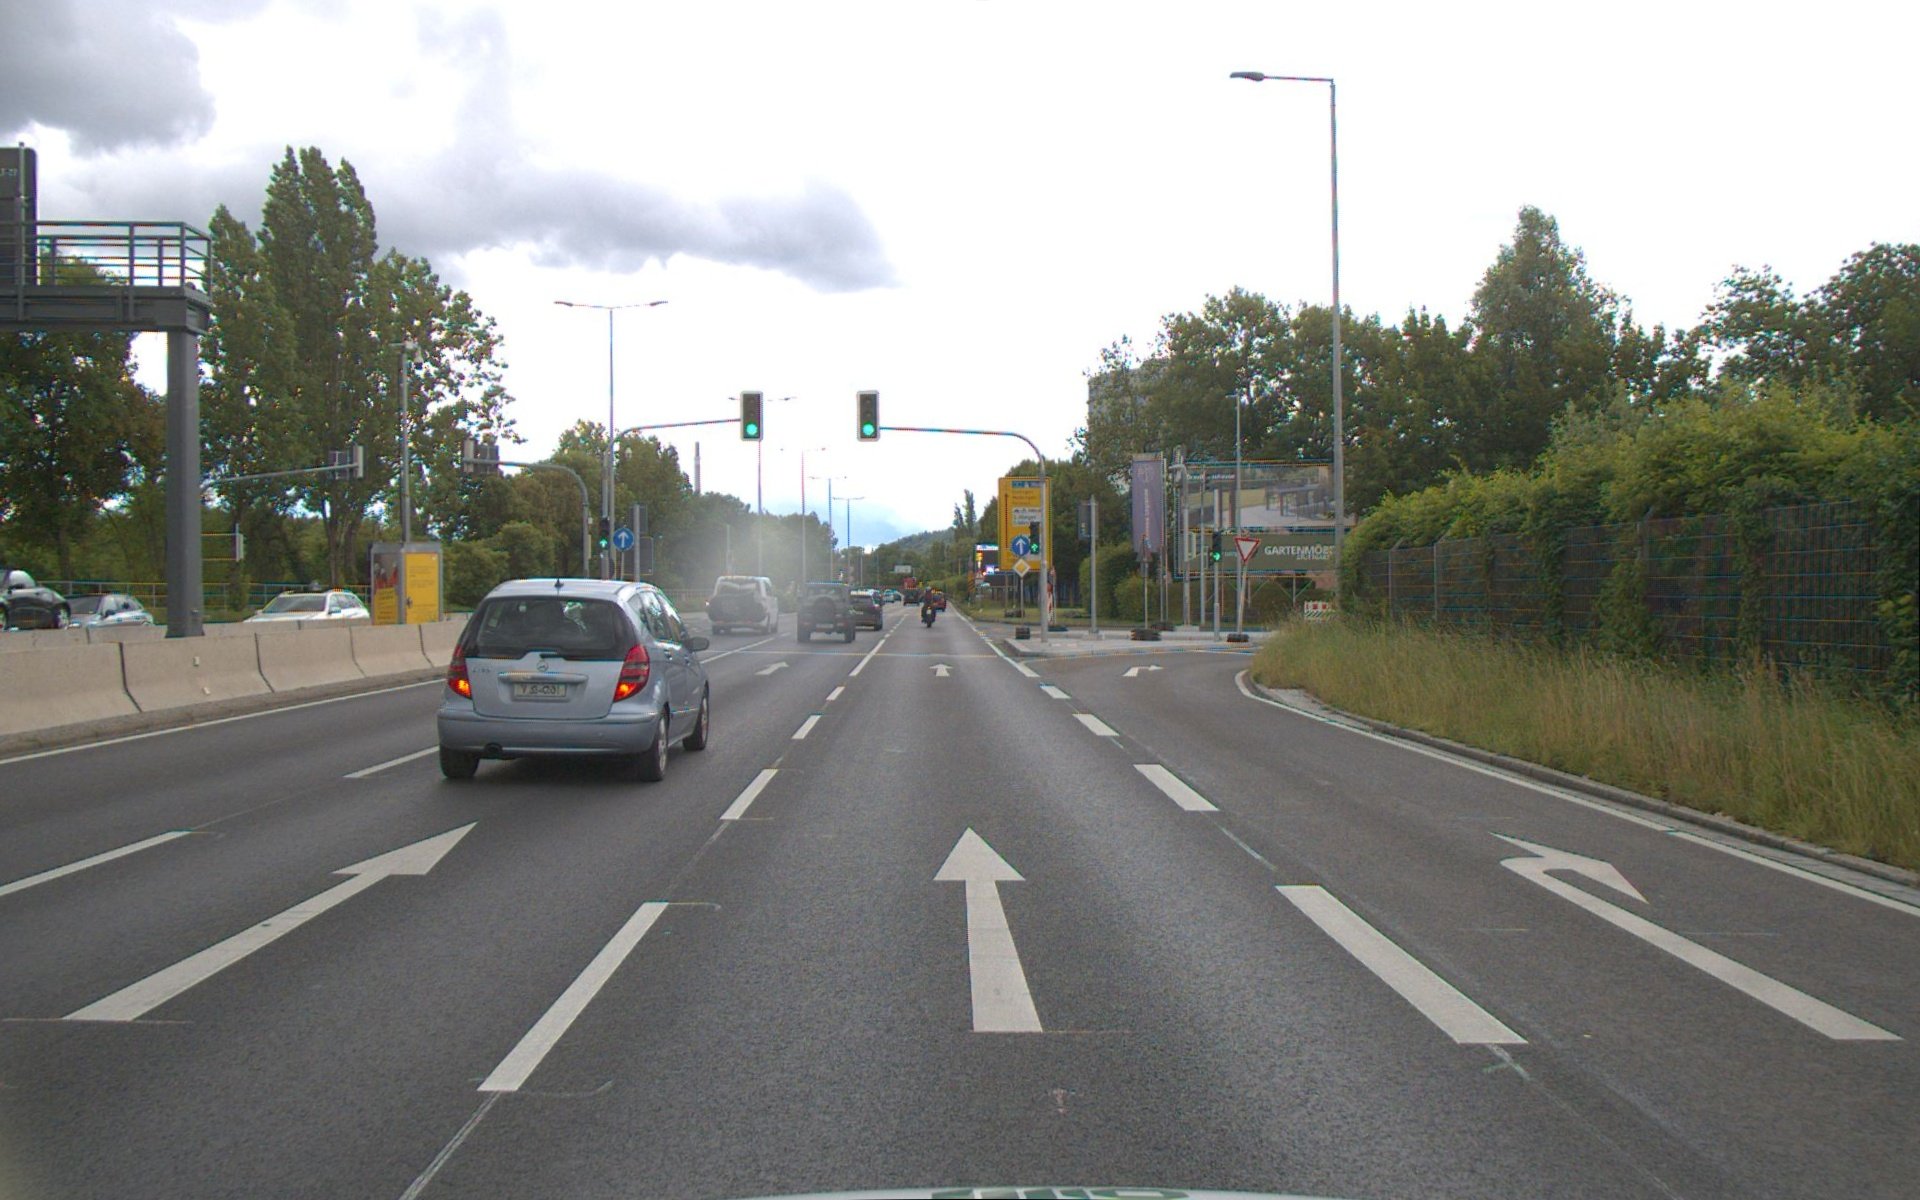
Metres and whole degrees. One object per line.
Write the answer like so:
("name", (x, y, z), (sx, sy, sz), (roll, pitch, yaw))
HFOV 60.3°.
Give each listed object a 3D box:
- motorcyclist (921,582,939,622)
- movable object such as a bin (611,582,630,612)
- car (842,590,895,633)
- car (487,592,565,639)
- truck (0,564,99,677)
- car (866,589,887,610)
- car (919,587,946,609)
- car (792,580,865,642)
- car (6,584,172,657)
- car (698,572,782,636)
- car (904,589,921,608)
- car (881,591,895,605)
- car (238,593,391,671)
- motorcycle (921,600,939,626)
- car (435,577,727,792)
("motorcyclist", (-1.250, 0.082, 69.189), (0.670, 1.638, 0.845), (2, 0, 0))
("movable object such as a bin", (-12.184, -0.105, 59.400), (0.530, 1.077, 0.740), (2, 0, -1))
("car", (-3.443, 0.402, 62.823), (1.802, 1.489, 4.000), (2, 1, -1))
("car", (-16.994, 0.576, 64.955), (1.953, 1.714, 4.411), (2, 1, -2))
("truck", (-18.734, 0.355, 30.753), (2.159, 2.049, 6.301), (2, 1, 0))
("car", (-8.591, -0.059, 170.728), (1.953, 2.049, 3.999), (2, 1, -1))
("car", (-2.163, -0.154, 128.828), (1.953, 1.579, 3.998), (2, 1, -2))
("car", (-3.853, 0.294, 49.026), (1.869, 1.713, 3.999), (2, 1, -1))
("car", (-22.170, 0.476, 42.312), (1.953, 1.714, 4.411), (2, 1, -2))
("car", (-7.152, 0.097, 54.283), (2.170, 1.959, 5.000), (2, 1, -2))
("car", (-5.542, -0.208, 193.022), (1.953, 2.049, 3.999), (2, 1, -1))
("car", (-10.470, -0.292, 241.043), (1.953, 2.049, 4.000), (2, 1, -1))
("car", (-15.646, 0.719, 40.349), (1.953, 1.697, 4.694), (2, 1, -2))
("motorcycle", (-1.260, 0.531, 69.239), (0.692, 1.058, 2.027), (2, 1, 0))
("car", (-3.117, 0.612, 14.372), (1.676, 1.556, 3.999), (2, 1, -2))
